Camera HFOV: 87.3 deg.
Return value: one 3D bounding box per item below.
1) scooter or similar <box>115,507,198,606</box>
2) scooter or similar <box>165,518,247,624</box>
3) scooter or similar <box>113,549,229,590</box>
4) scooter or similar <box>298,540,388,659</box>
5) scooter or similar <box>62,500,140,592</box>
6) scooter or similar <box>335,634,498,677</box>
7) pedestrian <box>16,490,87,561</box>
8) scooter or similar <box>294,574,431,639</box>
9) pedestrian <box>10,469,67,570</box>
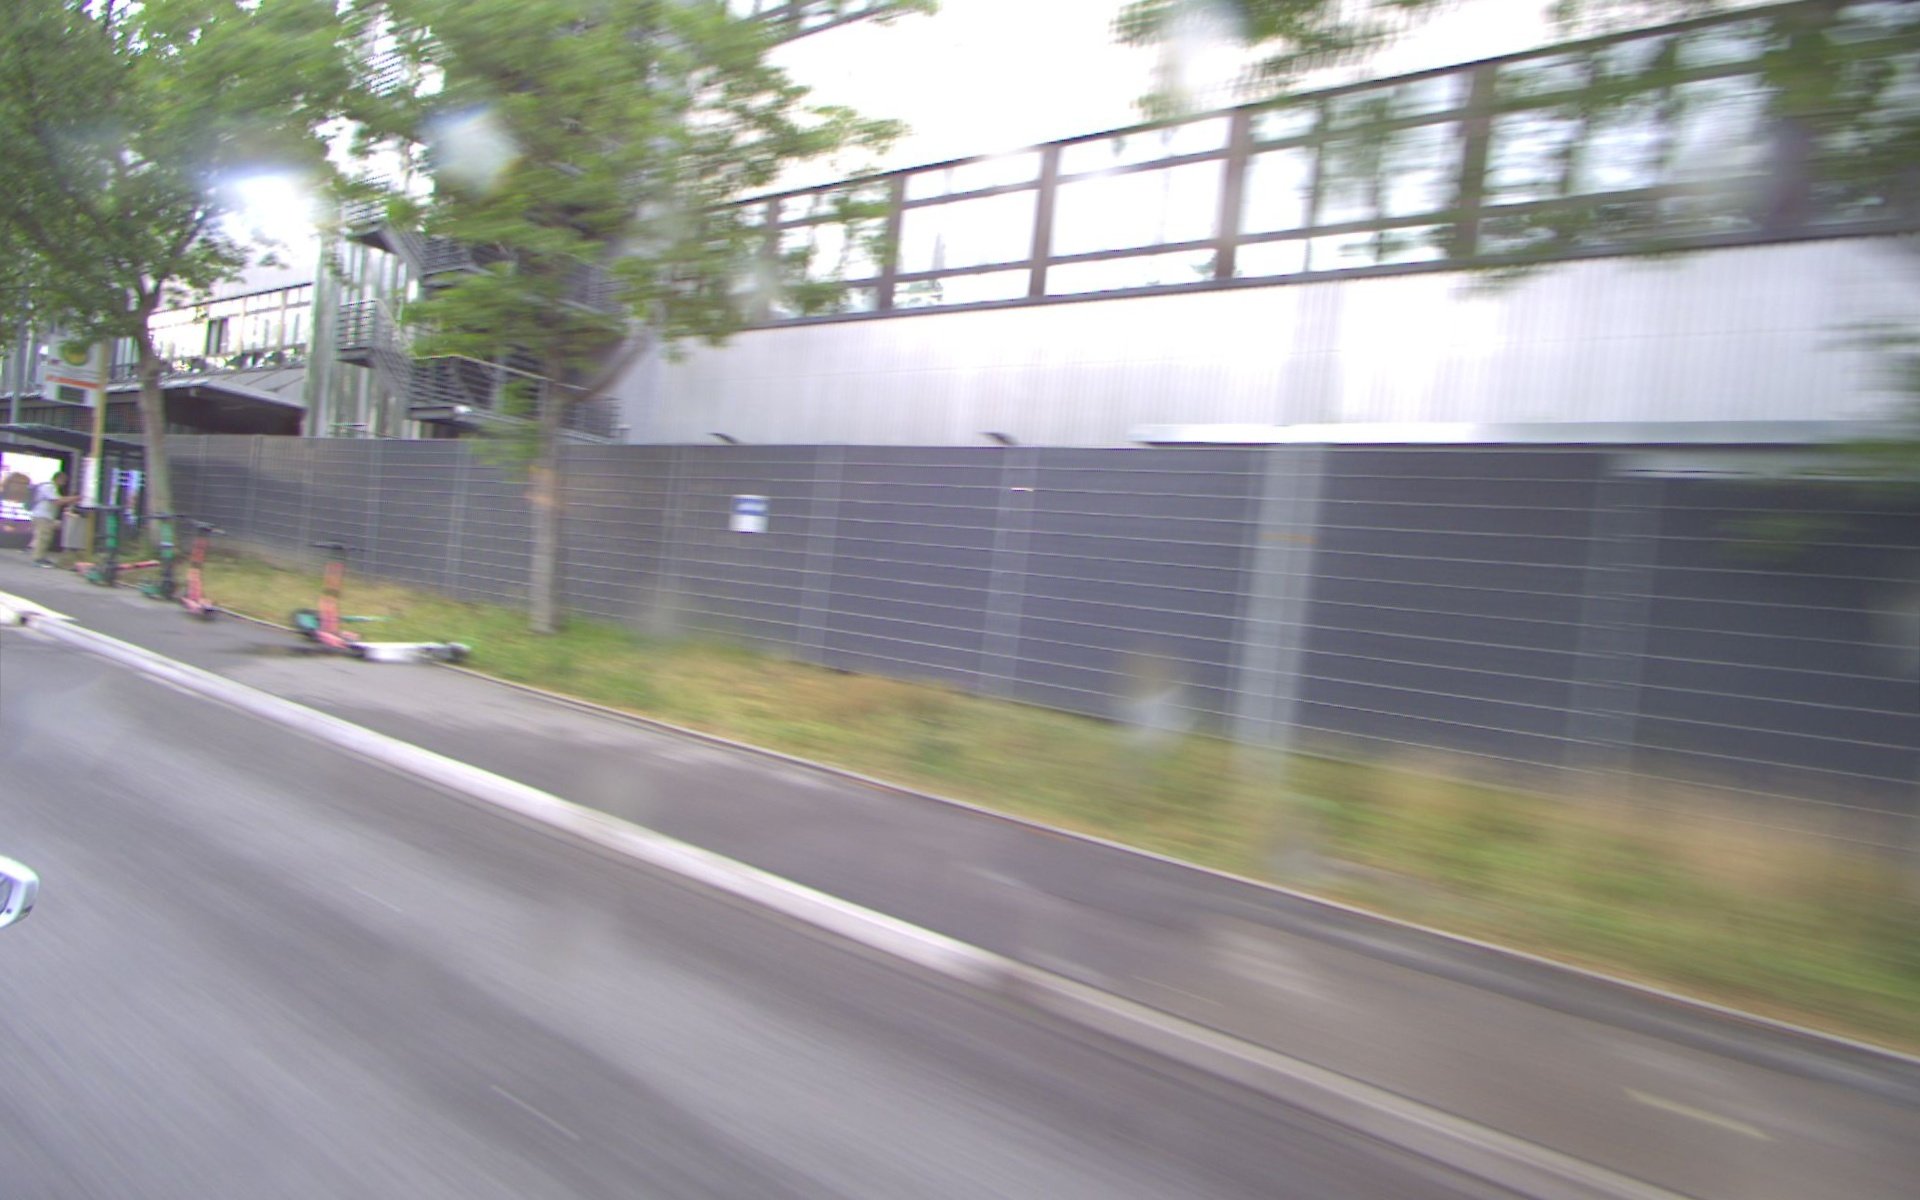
[{"bbox_3d":[-11.818,-0.648,14.777,1.410,1.309,0.475,7,2,34],"label":"scooter or similar"},{"bbox_3d":[-10.026,-0.394,13.372,1.175,1.286,0.433,7,2,34],"label":"scooter or similar"},{"bbox_3d":[-13.831,-0.532,17.655,1.554,0.526,0.636,6,1,-40],"label":"scooter or similar"},{"bbox_3d":[-7.094,-0.015,11.556,1.056,1.242,0.388,7,2,34],"label":"scooter or similar"},{"bbox_3d":[-13.568,-0.862,15.886,1.410,1.309,0.503,7,2,34],"label":"scooter or similar"},{"bbox_3d":[-5.964,0.602,11.063,1.495,0.249,0.655,7,1,12],"label":"scooter or similar"},{"bbox_3d":[-19.134,-1.561,21.182,0.676,1.333,0.949,7,1,40],"label":"pedestrian"},{"bbox_3d":[-8.408,0.086,14.189,1.496,0.723,0.654,7,1,2],"label":"scooter or similar"},{"bbox_3d":[-16.336,-1.420,17.836,0.651,1.688,0.481,7,2,31],"label":"pedestrian"}]
